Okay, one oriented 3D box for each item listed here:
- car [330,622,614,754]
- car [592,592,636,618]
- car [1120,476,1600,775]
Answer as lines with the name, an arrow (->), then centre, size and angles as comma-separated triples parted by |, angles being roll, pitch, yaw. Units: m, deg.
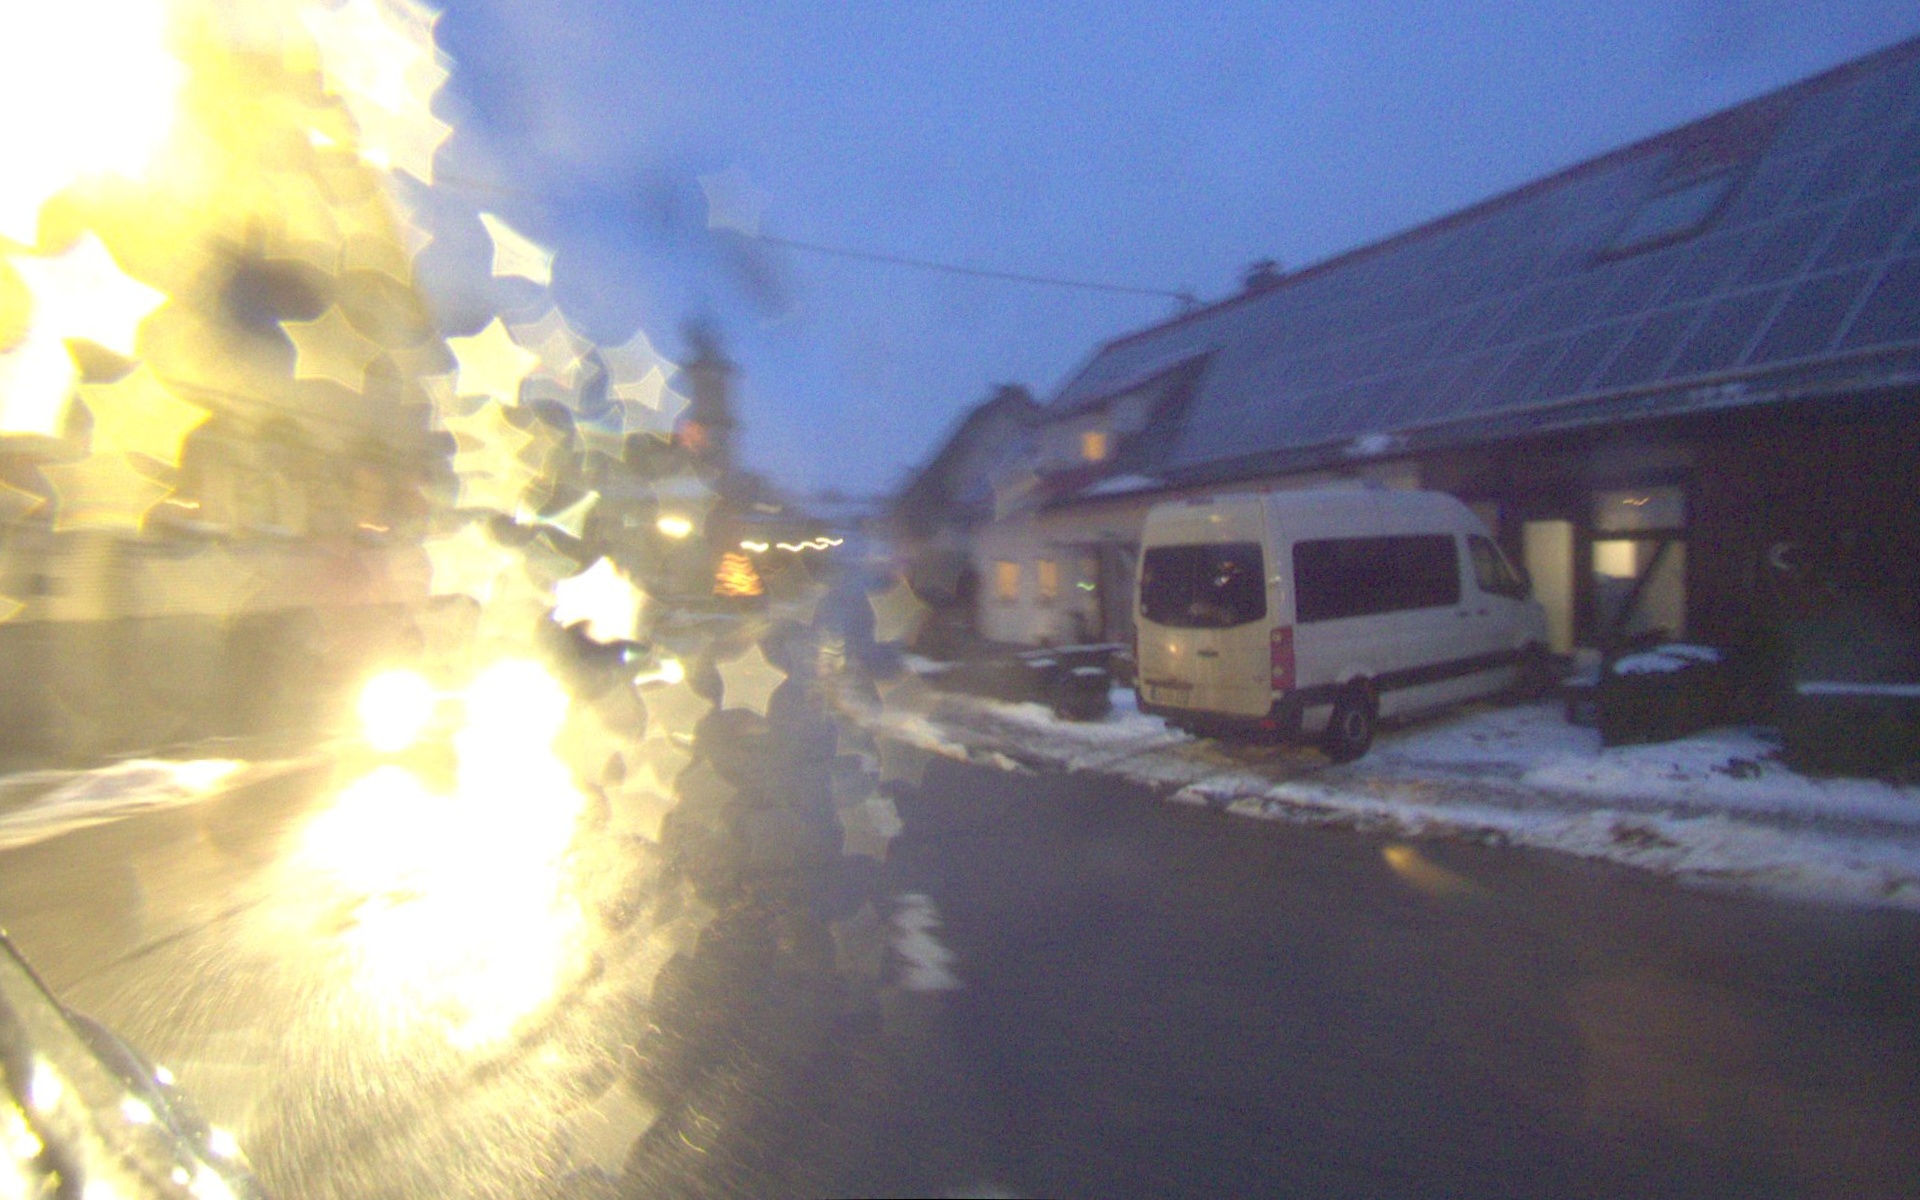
car -> -6.050, 1.030, 13.304 | 1.968, 1.392, 4.942 | 0, -2, -8
car -> -22.599, 0.279, 66.036 | 1.726, 1.423, 4.094 | -1, 3, -33
car -> 4.741, 0.008, 11.406 | 6.016, 2.572, 2.005 | -5, 4, -35
